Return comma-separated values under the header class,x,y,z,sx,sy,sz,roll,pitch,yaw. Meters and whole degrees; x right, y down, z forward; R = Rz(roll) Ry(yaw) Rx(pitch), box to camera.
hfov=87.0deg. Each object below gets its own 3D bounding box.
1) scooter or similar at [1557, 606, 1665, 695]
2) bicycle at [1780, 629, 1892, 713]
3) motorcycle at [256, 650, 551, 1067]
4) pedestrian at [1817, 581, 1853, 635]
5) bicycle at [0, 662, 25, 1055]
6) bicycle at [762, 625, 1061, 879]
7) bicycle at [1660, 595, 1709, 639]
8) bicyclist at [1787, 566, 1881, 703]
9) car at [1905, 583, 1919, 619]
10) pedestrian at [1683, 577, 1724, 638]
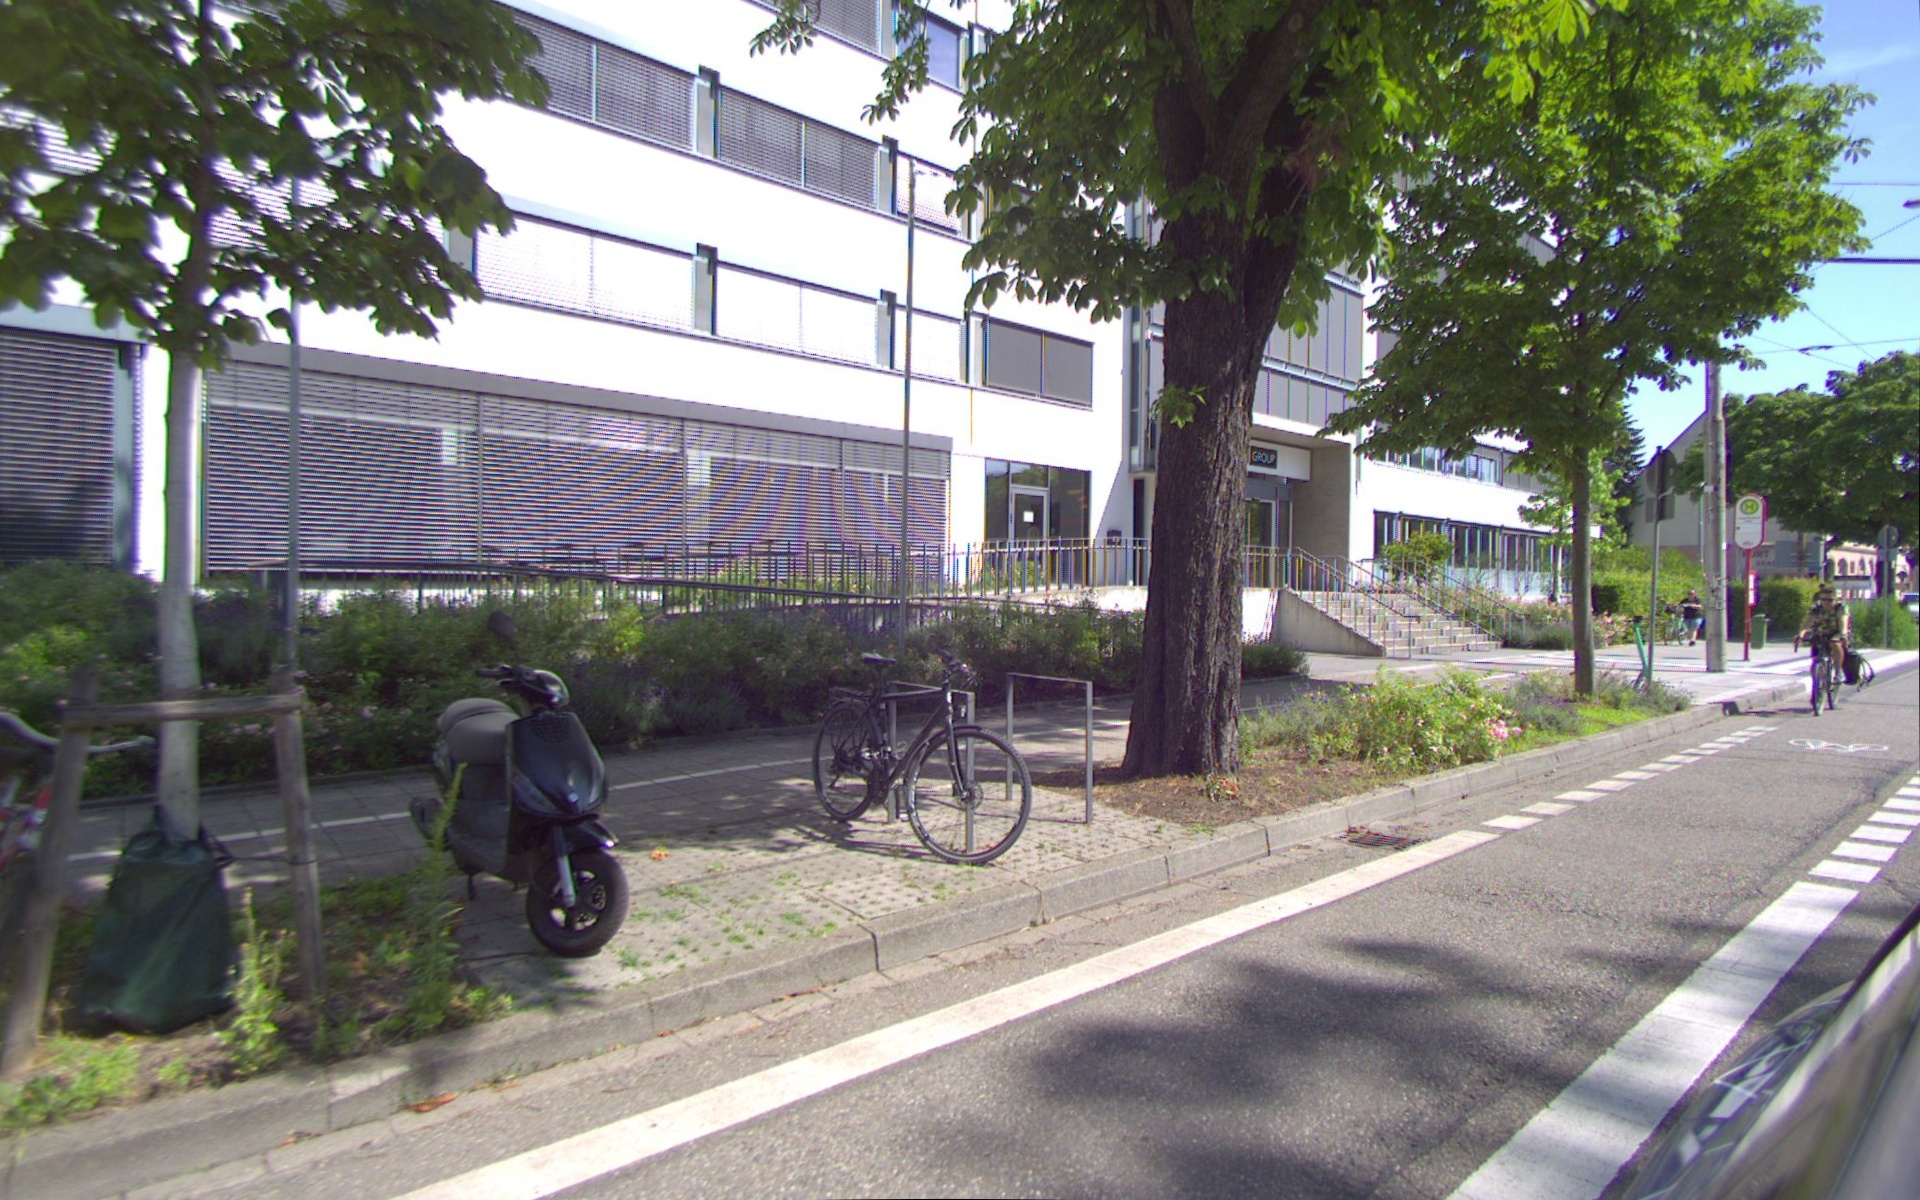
class,x,y,z,sx,sy,sz,roll,pitch,yaw
scooter or similar,9.290,0.698,14.466,0.663,1.181,1.129,0,1,-38
bicycle,11.778,0.918,13.589,2.122,0.996,0.610,0,0,-34
motorcycle,-2.187,0.808,3.860,0.647,1.099,1.727,0,1,-40
pedestrian,30.073,0.264,34.772,0.889,1.841,1.057,1,0,43
bicycle,-3.385,0.818,3.144,0.628,1.099,1.727,0,1,-40
bicycle,-0.334,0.738,5.667,0.775,1.099,1.727,0,1,-41
bicycle,19.557,0.434,27.298,2.031,1.131,0.637,0,1,-42
bicyclist,11.633,0.439,13.468,0.969,1.746,0.718,0,0,-35
car,56.834,0.067,58.859,4.819,2.038,2.089,0,2,-39
pedestrian,19.883,0.194,27.068,0.686,1.582,0.972,3,2,45
